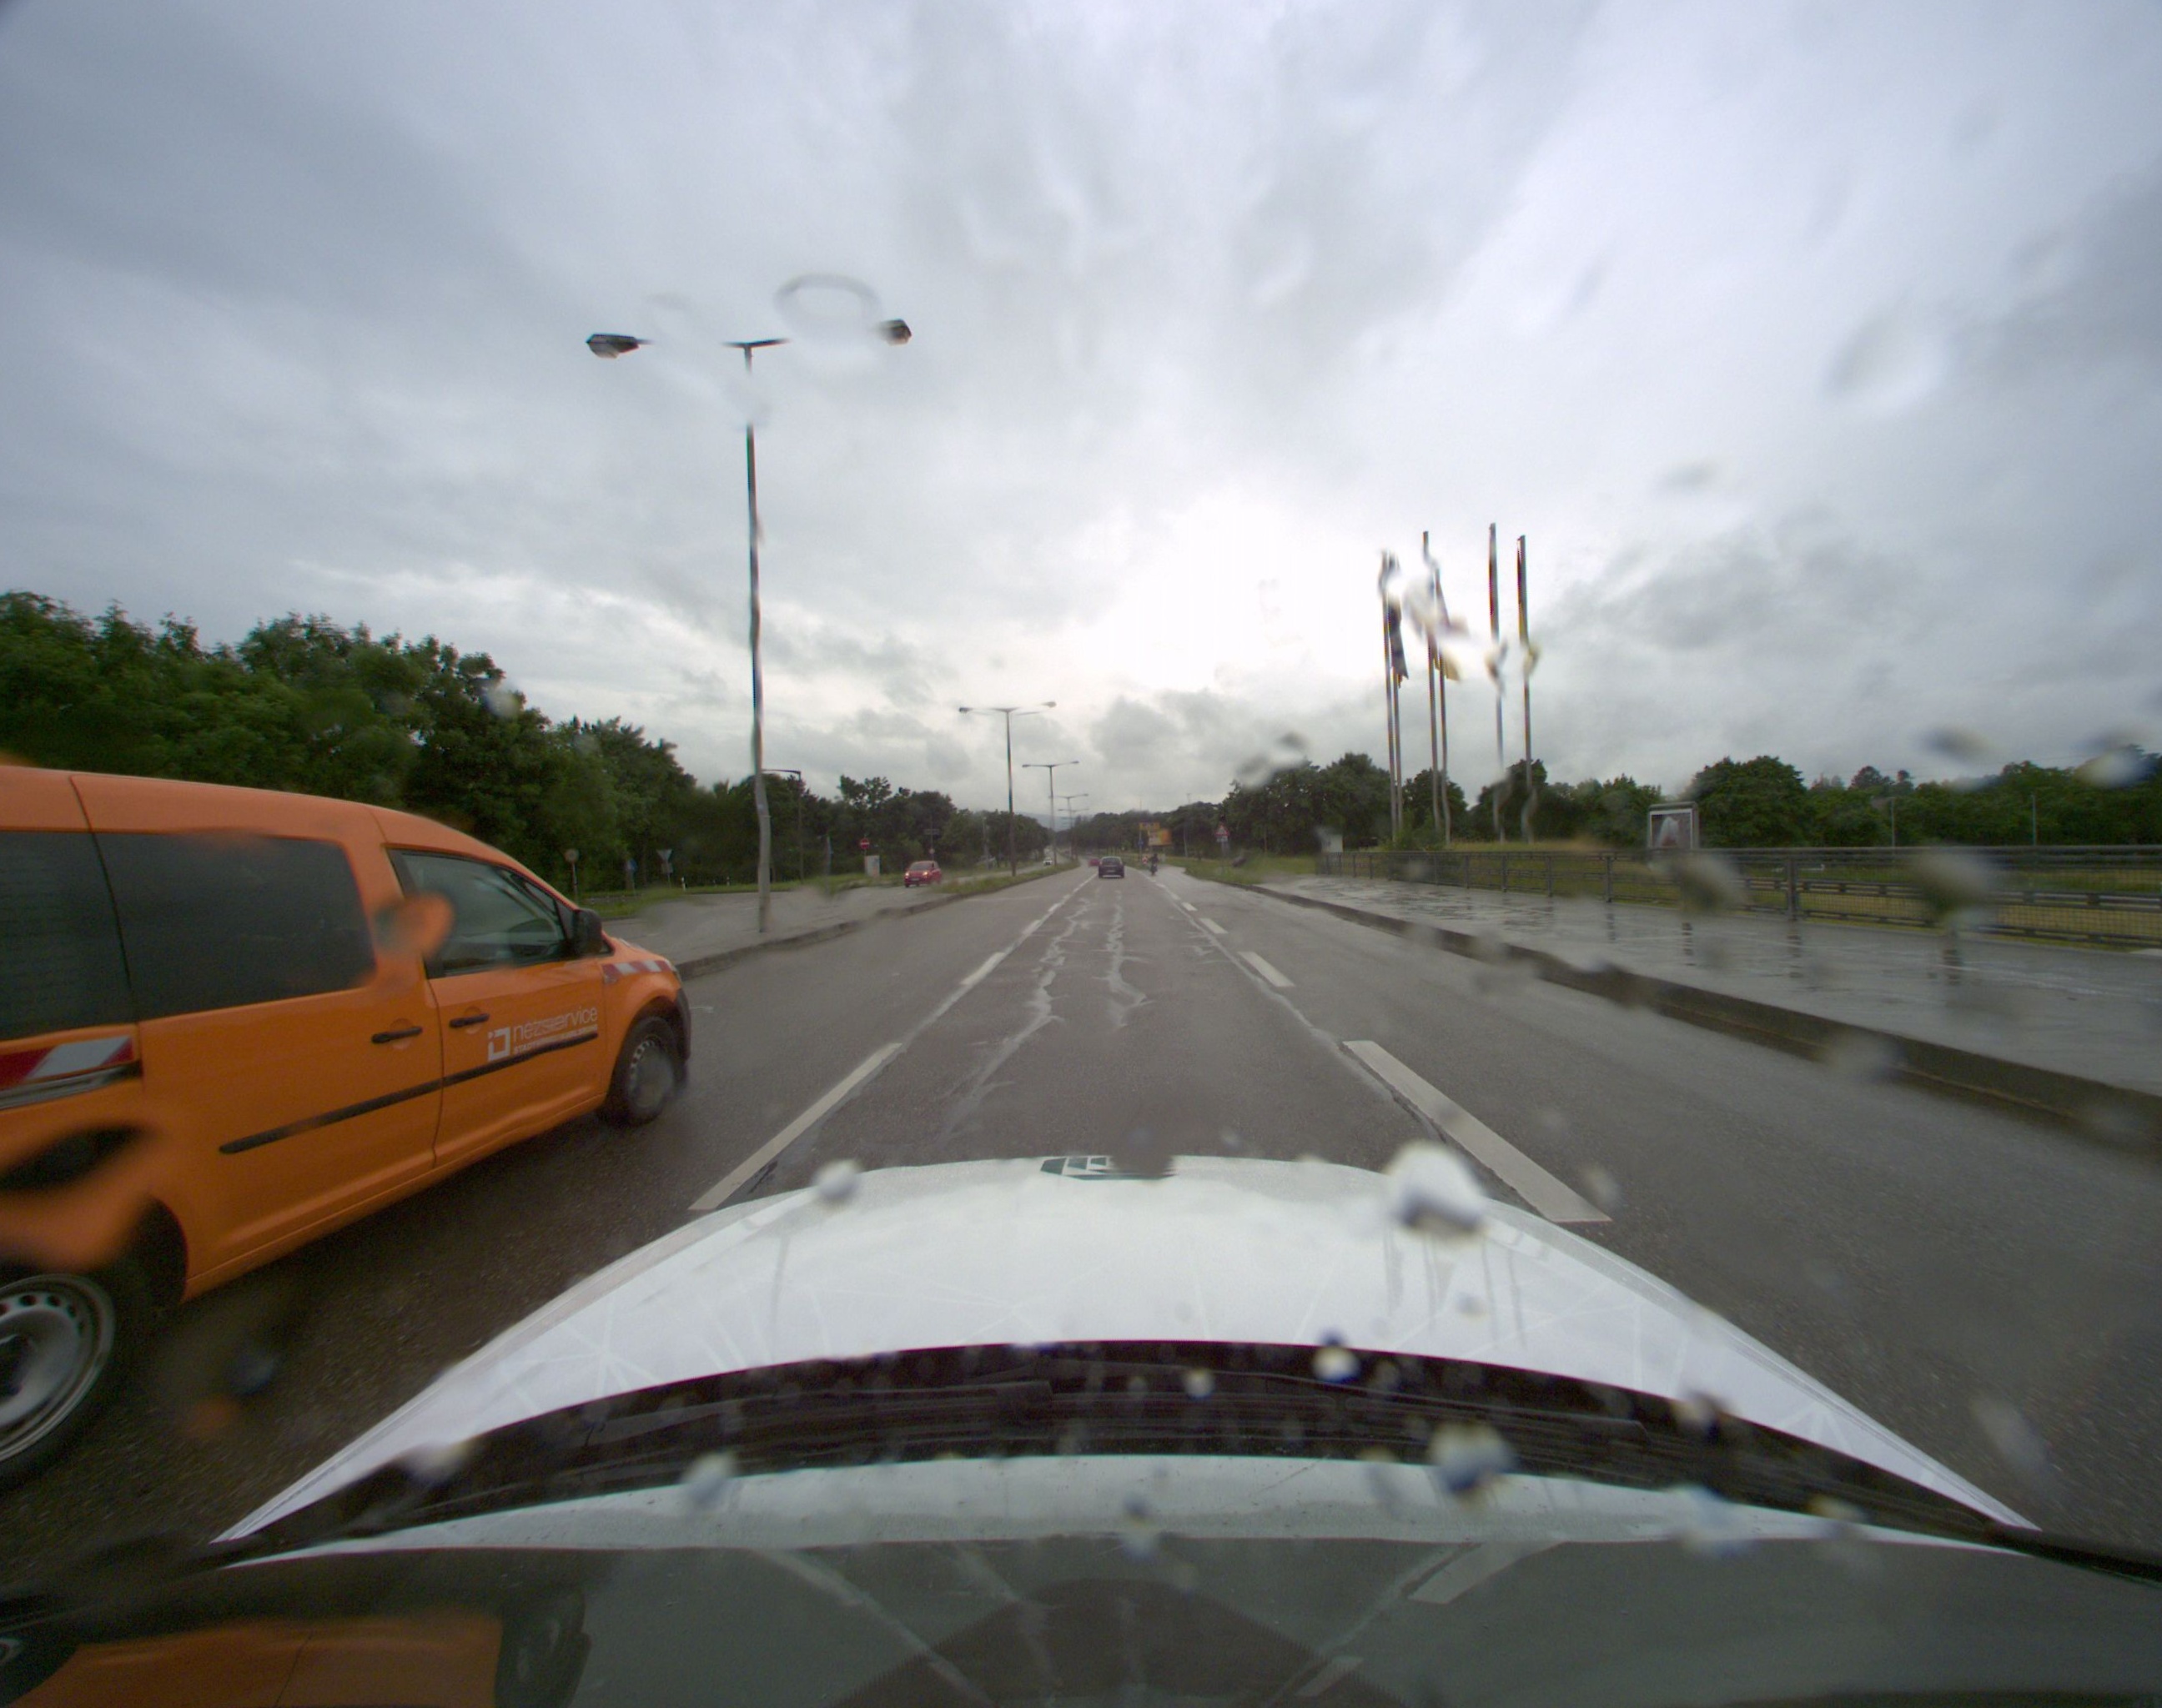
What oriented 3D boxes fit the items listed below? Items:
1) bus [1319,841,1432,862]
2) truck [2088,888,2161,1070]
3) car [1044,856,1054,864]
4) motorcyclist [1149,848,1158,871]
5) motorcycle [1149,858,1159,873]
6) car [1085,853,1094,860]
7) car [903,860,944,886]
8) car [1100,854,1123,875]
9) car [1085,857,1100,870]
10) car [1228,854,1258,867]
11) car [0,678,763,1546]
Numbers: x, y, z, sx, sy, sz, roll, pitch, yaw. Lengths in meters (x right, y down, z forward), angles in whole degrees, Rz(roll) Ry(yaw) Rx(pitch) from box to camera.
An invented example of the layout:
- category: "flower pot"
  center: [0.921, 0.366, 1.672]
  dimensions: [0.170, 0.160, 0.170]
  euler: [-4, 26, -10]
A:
- category: "bus"
  center: [39.015, -0.355, 107.826]
  dimensions: [14.540, 2.680, 2.754]
  euler: [-1, 0, -9]
- category: "truck"
  center: [31.618, 3.052, 21.731]
  dimensions: [10.943, 4.301, 2.552]
  euler: [-1, 0, -20]
- category: "car"
  center: [-6.931, 1.273, 175.283]
  dimensions: [1.701, 1.629, 4.493]
  euler: [-4, 0, 1]
- category: "motorcyclist"
  center: [5.622, 0.419, 62.918]
  dimensions: [0.599, 1.690, 0.860]
  euler: [-1, 0, 1]
- category: "motorcycle"
  center: [5.644, 0.910, 62.938]
  dimensions: [0.599, 1.093, 1.732]
  euler: [-1, 0, 1]
- category: "car"
  center: [2.736, 0.738, 256.794]
  dimensions: [2.510, 2.052, 5.288]
  euler: [-2, 0, -2]
- category: "car"
  center: [-9.760, 1.149, 50.600]
  dimensions: [1.654, 1.448, 3.558]
  euler: [-4, 0, 2]
- category: "car"
  center: [2.012, 0.668, 54.363]
  dimensions: [1.458, 1.329, 3.759]
  euler: [-1, 0, 1]
- category: "car"
  center: [1.662, 1.313, 115.097]
  dimensions: [1.986, 1.879, 4.001]
  euler: [-1, 0, 1]
- category: "car"
  center: [19.859, 0.790, 99.844]
  dimensions: [1.837, 1.618, 4.025]
  euler: [-1, 0, 42]
- category: "car"
  center: [-3.312, 0.623, 3.607]
  dimensions: [1.728, 2.019, 4.851]
  euler: [0, -1, 2]
